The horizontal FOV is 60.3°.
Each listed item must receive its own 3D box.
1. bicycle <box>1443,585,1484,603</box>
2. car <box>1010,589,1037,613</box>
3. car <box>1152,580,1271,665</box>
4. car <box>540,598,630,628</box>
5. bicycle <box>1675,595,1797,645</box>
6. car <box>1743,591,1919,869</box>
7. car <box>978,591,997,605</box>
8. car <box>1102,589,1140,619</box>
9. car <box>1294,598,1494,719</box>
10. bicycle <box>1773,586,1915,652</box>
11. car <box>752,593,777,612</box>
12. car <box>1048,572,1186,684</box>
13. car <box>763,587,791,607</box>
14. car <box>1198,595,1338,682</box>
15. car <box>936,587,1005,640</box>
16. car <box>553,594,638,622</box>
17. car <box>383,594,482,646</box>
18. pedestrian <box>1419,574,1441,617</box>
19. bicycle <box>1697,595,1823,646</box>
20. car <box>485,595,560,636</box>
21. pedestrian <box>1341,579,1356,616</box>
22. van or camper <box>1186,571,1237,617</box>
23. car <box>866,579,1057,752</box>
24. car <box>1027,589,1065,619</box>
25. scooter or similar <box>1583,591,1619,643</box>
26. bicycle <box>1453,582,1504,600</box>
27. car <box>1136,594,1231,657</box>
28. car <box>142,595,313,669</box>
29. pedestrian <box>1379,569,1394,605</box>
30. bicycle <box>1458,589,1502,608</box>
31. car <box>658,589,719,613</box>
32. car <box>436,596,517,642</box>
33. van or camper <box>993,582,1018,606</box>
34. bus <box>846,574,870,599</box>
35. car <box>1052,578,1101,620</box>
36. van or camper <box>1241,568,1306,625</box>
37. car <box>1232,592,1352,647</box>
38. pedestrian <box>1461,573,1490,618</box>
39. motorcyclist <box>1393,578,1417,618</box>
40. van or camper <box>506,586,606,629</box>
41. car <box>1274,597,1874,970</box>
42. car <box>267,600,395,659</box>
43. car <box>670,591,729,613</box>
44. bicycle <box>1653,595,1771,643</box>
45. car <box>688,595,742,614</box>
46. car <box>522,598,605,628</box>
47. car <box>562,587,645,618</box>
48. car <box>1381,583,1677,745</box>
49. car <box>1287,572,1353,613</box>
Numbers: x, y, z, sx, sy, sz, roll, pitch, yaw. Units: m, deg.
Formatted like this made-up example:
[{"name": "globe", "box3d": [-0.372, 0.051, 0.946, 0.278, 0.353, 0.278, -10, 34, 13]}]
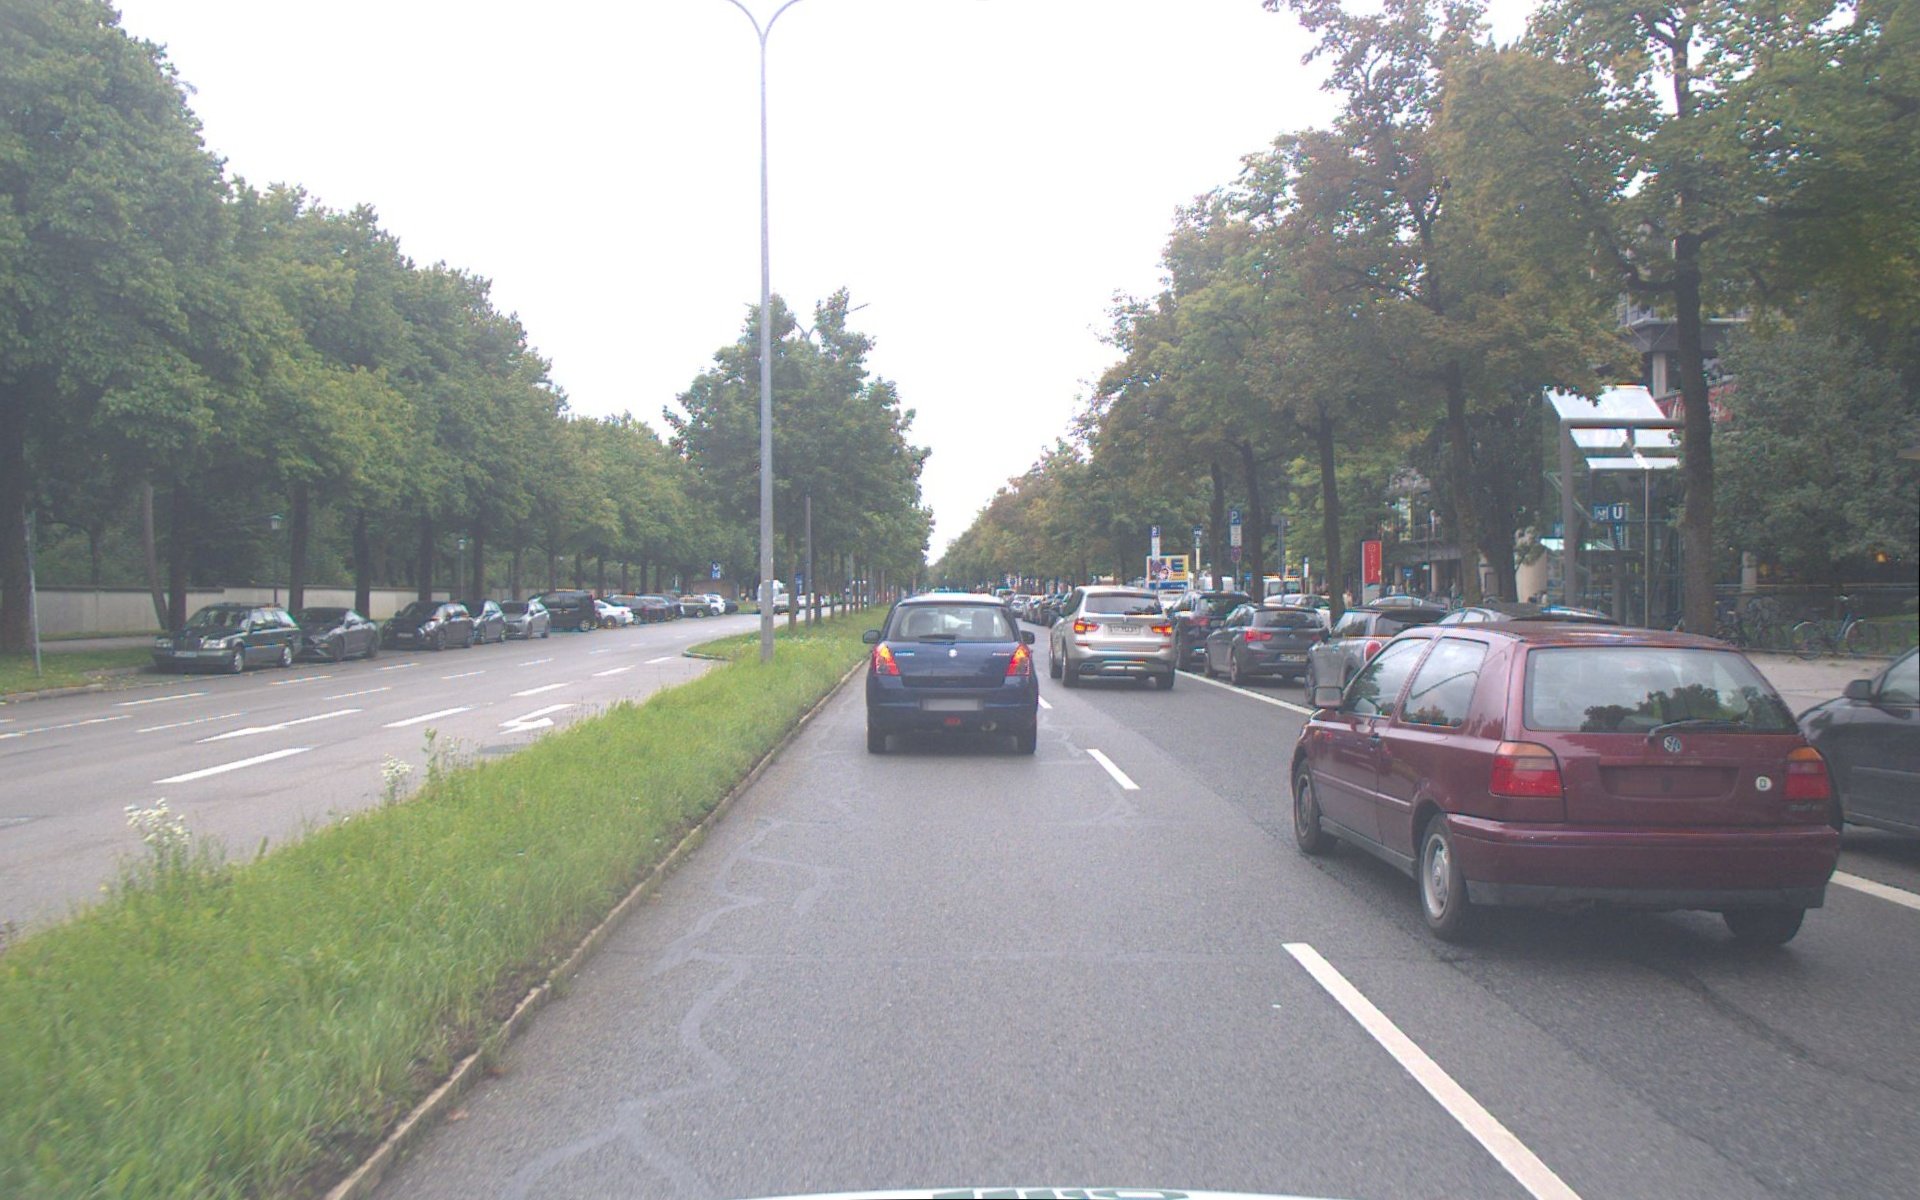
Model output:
[{"name": "bicycle", "box3d": [27.153, -0.321, 89.245, 2.000, 0.975, 0.746, 0, 0, -2]}, {"name": "car", "box3d": [4.269, 0.080, 112.146, 1.650, 1.552, 4.455, 1, 0, 0]}, {"name": "car", "box3d": [5.324, 0.433, 35.535, 1.750, 1.704, 4.594, 0, 0, -2]}, {"name": "car", "box3d": [-18.541, 0.622, 81.852, 3.955, 1.378, 1.827, -1, 0, -36]}, {"name": "bicycle", "box3d": [17.667, 0.446, 37.678, 2.490, 1.108, 0.647, 0, 0, -1]}, {"name": "car", "box3d": [6.149, 0.738, 9.265, 1.511, 1.561, 4.090, 1, 0, -1]}, {"name": "car", "box3d": [2.991, -0.260, 177.879, 1.813, 1.472, 4.095, 0, 0, -3]}, {"name": "car", "box3d": [8.779, 0.197, 90.429, 1.650, 1.613, 4.008, 0, 0, -1]}, {"name": "car", "box3d": [5.810, 0.726, 22.606, 1.601, 1.479, 4.077, 0, 0, -1]}, {"name": "bicycle", "box3d": [17.618, 0.371, 32.980, 2.490, 1.303, 0.647, 0, 0, -1]}, {"name": "car", "box3d": [-16.943, 0.195, 143.468, 1.875, 1.569, 4.186, 0, 0, -3]}, {"name": "car", "box3d": [2.610, 0.433, 28.380, 1.813, 1.773, 4.095, 0, 0, -3]}, {"name": "car", "box3d": [-14.371, -0.246, 130.135, 1.875, 1.569, 4.186, 0, 0, -3]}, {"name": "car", "box3d": [5.505, 0.640, 30.027, 1.600, 1.464, 4.303, 0, 0, -2]}, {"name": "car", "box3d": [0.266, 0.374, 48.327, 1.813, 1.472, 4.095, 0, 0, -3]}, {"name": "car", "box3d": [-18.740, 0.404, 85.068, 3.999, 1.405, 1.653, -1, 0, -37]}, {"name": "car", "box3d": [-16.601, 0.600, 52.251, 1.538, 1.529, 4.305, 1, 0, 3]}, {"name": "pedestrian", "box3d": [19.451, -0.183, 68.472, 0.528, 1.751, 0.987, -2, 0, -1]}, {"name": "bicycle", "box3d": [17.690, 0.454, 36.608, 2.490, 1.108, 0.647, 0, 0, -1]}, {"name": "car", "box3d": [-16.889, 0.580, 64.049, 1.602, 1.464, 4.809, 1, 0, 0]}, {"name": "pedestrian", "box3d": [18.682, -0.114, 79.508, 0.563, 1.782, 0.732, 0, 0, 3]}, {"name": "van or camper", "box3d": [14.575, -0.346, 96.212, 1.983, 2.602, 5.956, 0, 0, -1]}, {"name": "car", "box3d": [-0.072, 0.591, 17.201, 1.753, 1.583, 3.998, 0, 0, -3]}, {"name": "car", "box3d": [4.617, 0.199, 88.947, 1.728, 1.573, 4.423, 0, 0, -1]}, {"name": "scooter or similar", "box3d": [15.757, 0.399, 40.669, 0.411, 1.254, 1.237, 0, 0, 1]}, {"name": "bicycle", "box3d": [26.494, -0.454, 84.534, 2.361, 0.885, 0.766, 0, 0, 43]}, {"name": "car", "box3d": [5.490, 0.599, 41.122, 1.620, 1.459, 4.481, 0, 0, -2]}, {"name": "car", "box3d": [-16.554, 0.668, 37.655, 1.763, 1.516, 4.914, 1, 0, -1]}, {"name": "pedestrian", "box3d": [21.112, -0.659, 81.899, 0.563, 1.782, 0.732, 0, 0, 3]}, {"name": "bicycle", "box3d": [26.209, -0.081, 83.333, 2.012, 0.975, 0.742, 0, 0, 43]}, {"name": "car", "box3d": [-20.005, 0.057, 121.859, 4.059, 1.725, 1.896, -1, 0, -35]}, {"name": "car", "box3d": [-16.806, 0.634, 57.676, 1.554, 1.484, 4.797, 1, 0, -2]}, {"name": "van or camper", "box3d": [3.827, -0.483, 139.580, 1.905, 2.009, 4.306, 0, 0, 0]}, {"name": "bus", "box3d": [-14.739, -1.943, 240.323, 2.682, 3.436, 12.012, -2, 0, 0]}, {"name": "car", "box3d": [4.921, -0.063, 70.595, 1.725, 1.730, 4.819, 0, 0, 0]}, {"name": "van or camper", "box3d": [15.038, -0.173, 79.686, 1.953, 2.602, 5.956, 0, 0, -1]}, {"name": "car", "box3d": [10.657, 0.587, 52.831, 1.934, 1.653, 4.827, 0, 0, 36]}, {"name": "pedestrian", "box3d": [20.801, -0.181, 66.769, 0.811, 1.751, 0.939, -2, 0, -1]}, {"name": "motorcyclist", "box3d": [20.221, -0.088, 75.106, 0.677, 1.767, 0.953, -5, 0, -1]}, {"name": "van or camper", "box3d": [-18.422, 0.307, 75.416, 4.090, 1.887, 1.822, -1, 0, -42]}, {"name": "car", "box3d": [2.859, 0.735, 8.648, 1.589, 1.479, 3.948, 0, 0, -2]}, {"name": "car", "box3d": [-16.550, 0.744, 43.758, 1.625, 1.420, 4.706, 1, 0, -1]}, {"name": "car", "box3d": [-19.800, 0.160, 125.735, 4.059, 1.612, 1.896, -1, 0, -35]}, {"name": "bicycle", "box3d": [17.672, 0.435, 38.897, 2.490, 1.108, 0.647, 0, 0, -1]}, {"name": "car", "box3d": [-19.932, 0.363, 134.828, 4.059, 1.500, 1.684, 1, 0, -35]}, {"name": "car", "box3d": [-18.784, 0.594, 78.366, 3.533, 1.378, 1.735, 0, 0, -32]}, {"name": "car", "box3d": [-19.479, 0.115, 90.428, 4.070, 1.625, 1.891, -1, 0, -40]}, {"name": "car", "box3d": [5.948, 0.598, 17.848, 1.683, 1.535, 4.222, 0, 0, -1]}, {"name": "car", "box3d": [15.439, -0.326, 71.113, 1.953, 1.680, 3.999, 0, 0, -1]}]
